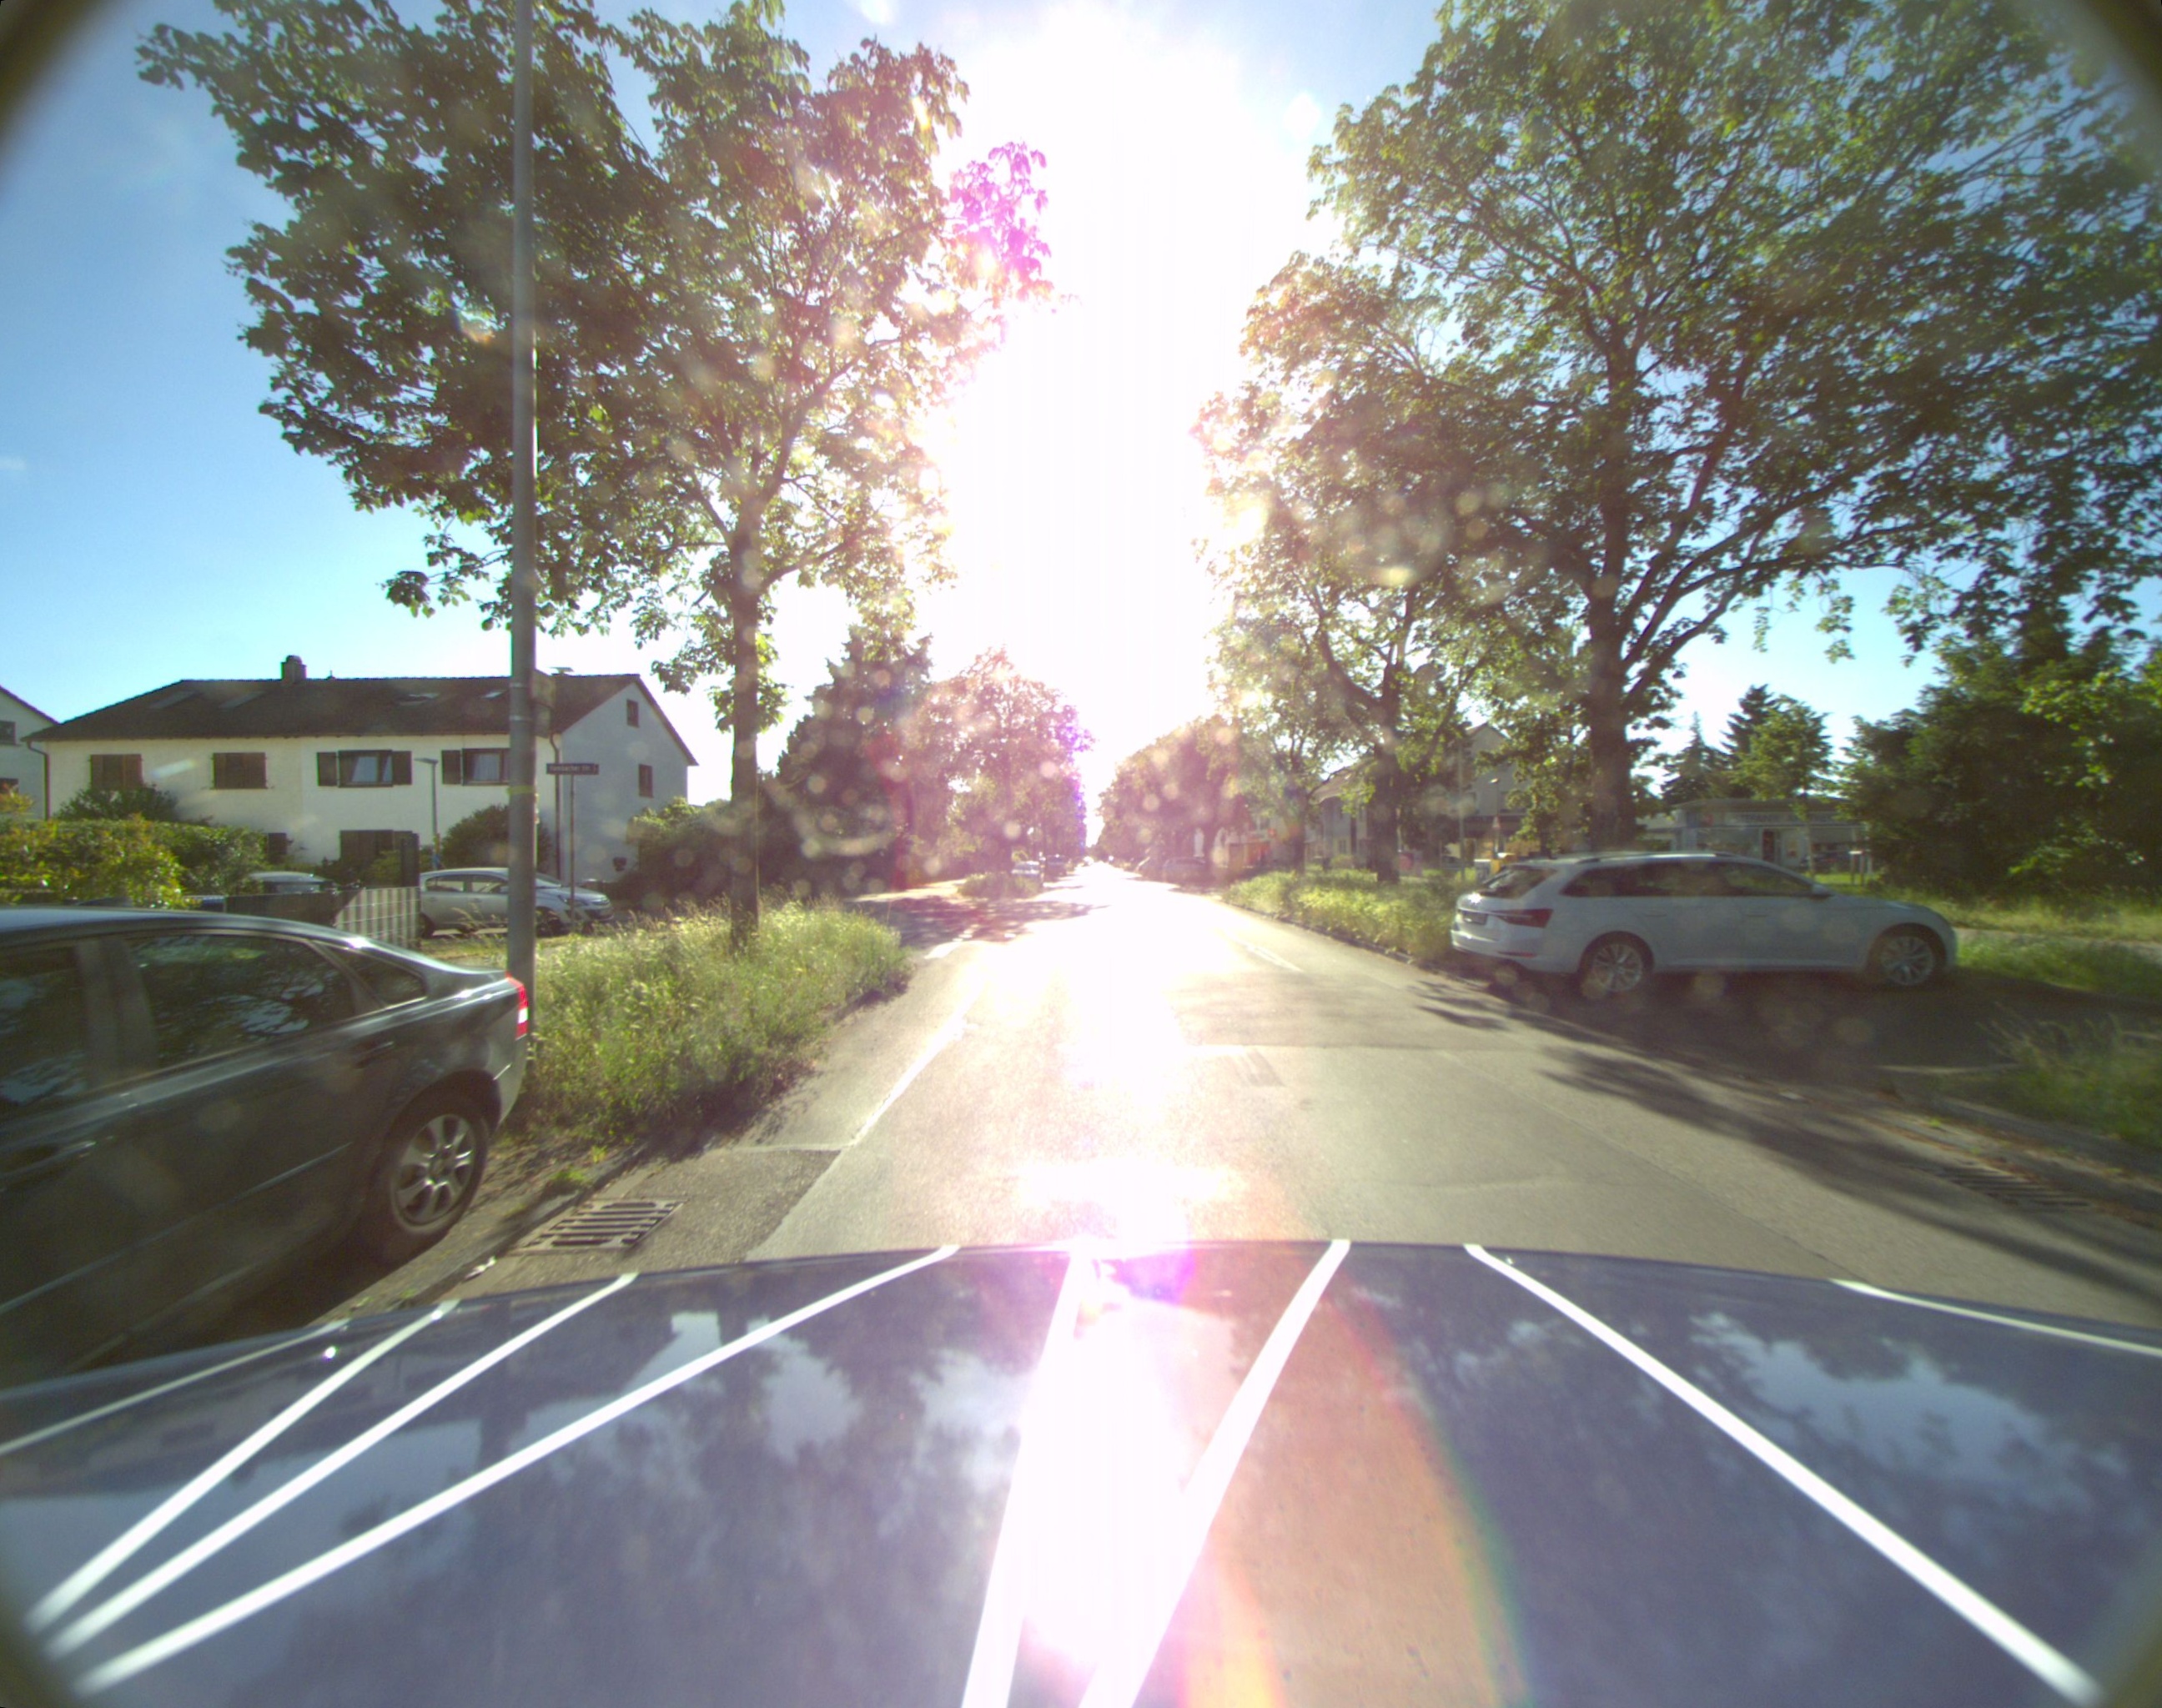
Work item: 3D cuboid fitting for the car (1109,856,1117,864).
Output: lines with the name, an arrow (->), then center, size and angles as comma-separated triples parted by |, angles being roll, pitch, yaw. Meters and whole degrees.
car -> 7.596, 1.466, 180.529 | 1.815, 1.722, 4.056 | -1, 0, 3

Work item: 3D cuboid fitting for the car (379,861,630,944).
car -> -12.434, 0.993, 16.615 | 3.999, 1.630, 1.775 | -1, 0, -5

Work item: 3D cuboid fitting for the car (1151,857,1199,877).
car -> 8.485, 1.176, 68.682 | 3.997, 1.450, 2.000 | -4, 1, -1

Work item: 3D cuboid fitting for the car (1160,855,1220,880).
car -> 7.858, 0.943, 54.826 | 3.997, 1.651, 1.967 | -2, 0, 0

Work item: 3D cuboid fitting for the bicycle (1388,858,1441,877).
bicycle -> 21.657, 0.853, 49.492 | 0.706, 1.169, 4.051 | -1, -1, -16

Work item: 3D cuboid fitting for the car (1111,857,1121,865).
car -> 7.757, 1.504, 169.201 | 1.998, 1.530, 3.695 | -4, 0, 3

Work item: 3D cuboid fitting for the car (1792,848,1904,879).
car -> 41.262, 0.499, 40.962 | 3.997, 1.531, 2.000 | -1, 0, 1

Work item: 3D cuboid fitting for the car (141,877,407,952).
car -> -17.443, 1.279, 16.576 | 3.757, 1.436, 1.849 | -1, 0, -1

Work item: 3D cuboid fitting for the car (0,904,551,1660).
car -> -3.535, 1.126, 1.558 | 1.999, 1.612, 4.379 | -4, 0, -5

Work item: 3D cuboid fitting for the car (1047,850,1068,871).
car -> -2.442, 0.611, 80.096 | 1.999, 2.002, 5.195 | -4, 0, -1

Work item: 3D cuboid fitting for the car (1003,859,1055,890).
car -> -2.734, 1.054, 40.867 | 1.997, 1.501, 4.002 | 0, 1, 8

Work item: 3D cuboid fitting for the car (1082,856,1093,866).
car -> 1.138, 1.194, 126.941 | 1.539, 1.582, 3.459 | -4, 0, 3

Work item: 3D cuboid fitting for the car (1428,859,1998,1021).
car -> 6.723, 0.872, 8.565 | 4.682, 1.494, 2.000 | -2, 0, 2

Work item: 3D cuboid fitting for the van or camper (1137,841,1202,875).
van or camper -> 8.264, 0.342, 71.550 | 5.789, 2.789, 2.000 | -4, 1, 3

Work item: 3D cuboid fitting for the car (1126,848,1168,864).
car -> 8.494, 0.241, 97.954 | 5.075, 1.718, 1.999 | -4, 1, -3

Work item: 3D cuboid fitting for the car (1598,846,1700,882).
car -> 30.607, 0.511, 41.027 | 3.997, 1.810, 2.000 | -1, 0, 0

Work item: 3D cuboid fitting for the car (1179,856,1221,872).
car -> 12.665, 1.049, 80.798 | 3.998, 1.533, 1.869 | -2, 0, -5
